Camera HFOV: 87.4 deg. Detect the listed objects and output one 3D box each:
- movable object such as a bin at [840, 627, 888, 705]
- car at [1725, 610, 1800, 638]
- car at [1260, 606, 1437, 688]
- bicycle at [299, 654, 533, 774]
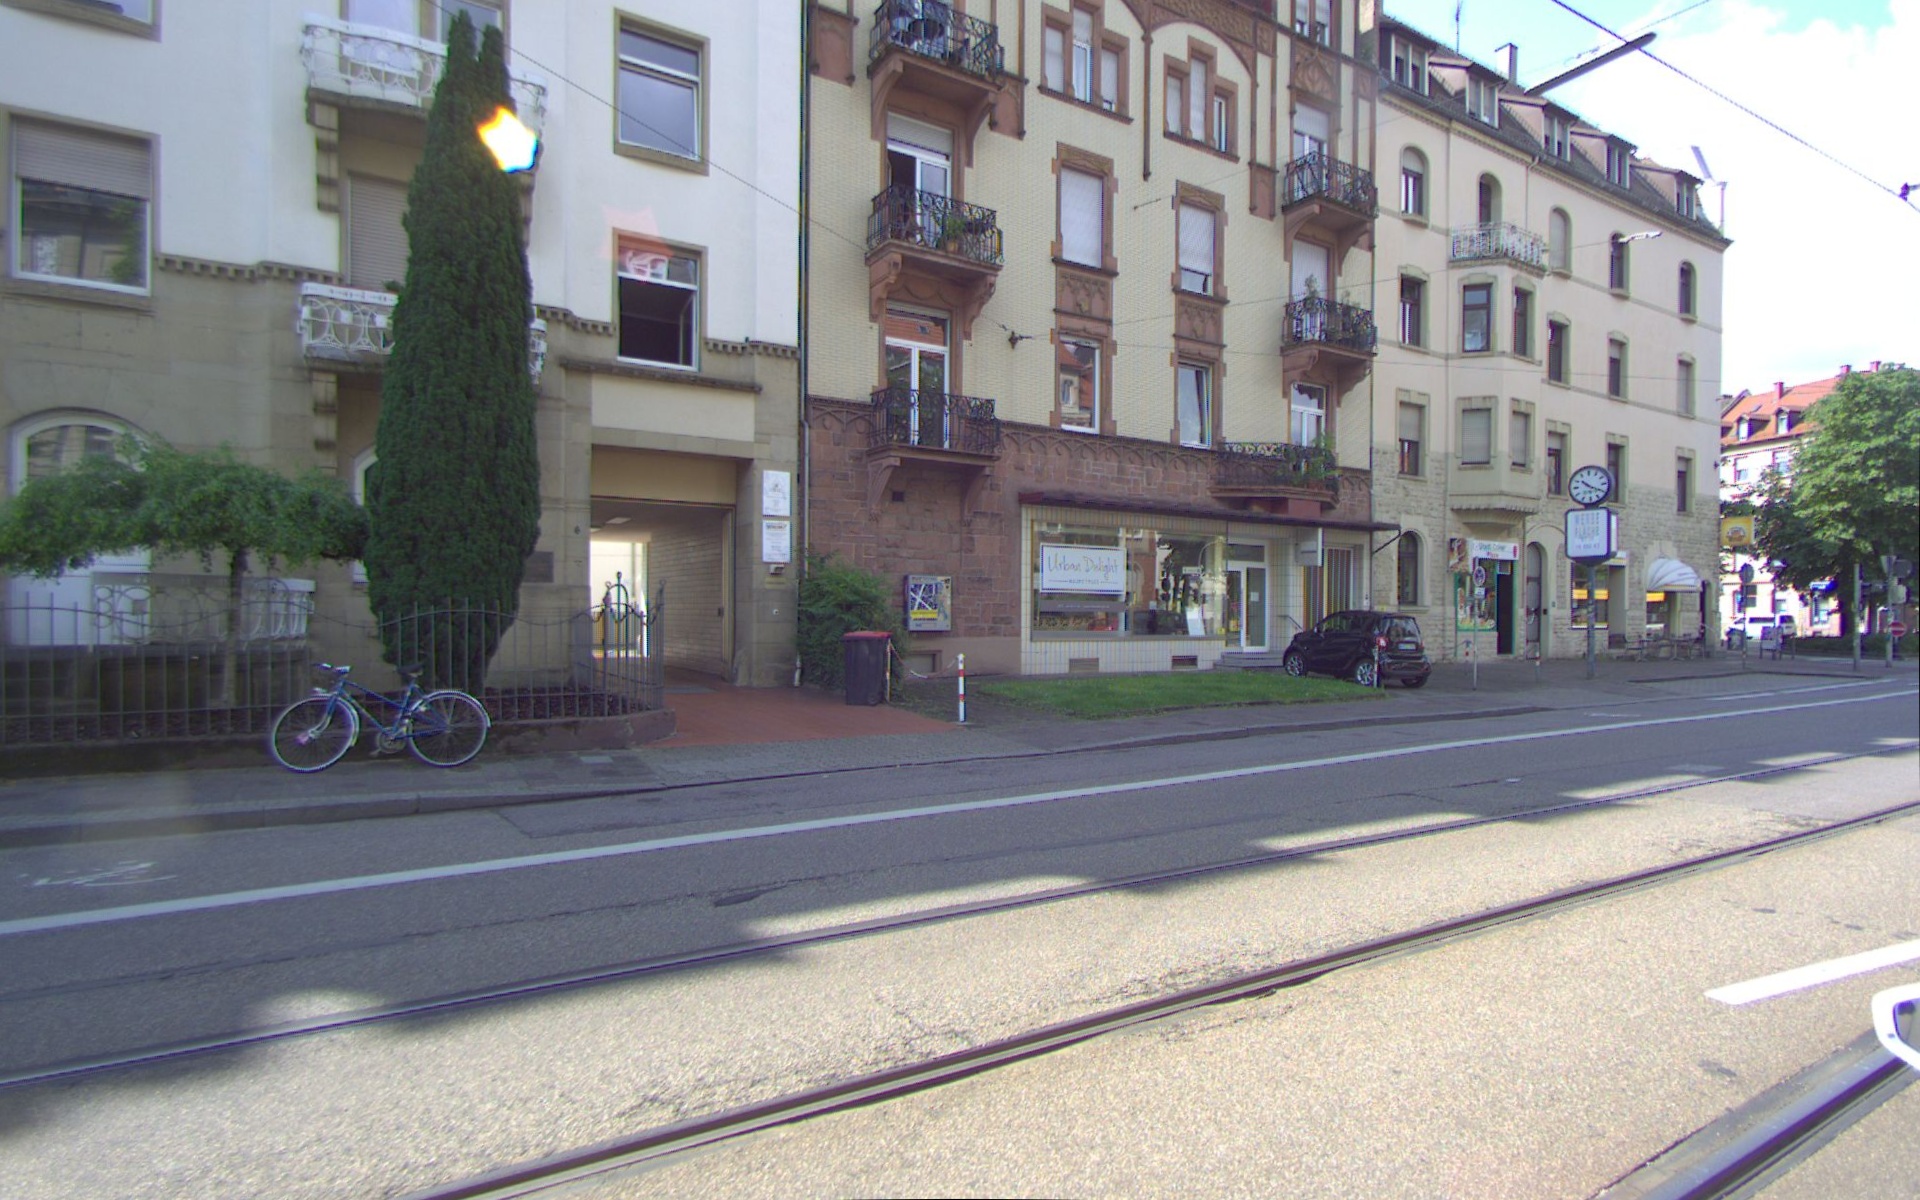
[{"bbox_3d":[-1.411,0.966,14.875,0.595,1.084,0.597,2,2,2],"label":"movable object such as a bin"},{"bbox_3d":[62.486,1.889,78.289,1.971,2.039,4.114,0,-4,-22],"label":"car"},{"bbox_3d":[8.248,0.955,21.547,1.658,1.533,3.223,1,1,-28],"label":"car"},{"bbox_3d":[-4.880,1.019,9.134,1.791,0.972,0.509,3,1,-25],"label":"bicycle"}]
